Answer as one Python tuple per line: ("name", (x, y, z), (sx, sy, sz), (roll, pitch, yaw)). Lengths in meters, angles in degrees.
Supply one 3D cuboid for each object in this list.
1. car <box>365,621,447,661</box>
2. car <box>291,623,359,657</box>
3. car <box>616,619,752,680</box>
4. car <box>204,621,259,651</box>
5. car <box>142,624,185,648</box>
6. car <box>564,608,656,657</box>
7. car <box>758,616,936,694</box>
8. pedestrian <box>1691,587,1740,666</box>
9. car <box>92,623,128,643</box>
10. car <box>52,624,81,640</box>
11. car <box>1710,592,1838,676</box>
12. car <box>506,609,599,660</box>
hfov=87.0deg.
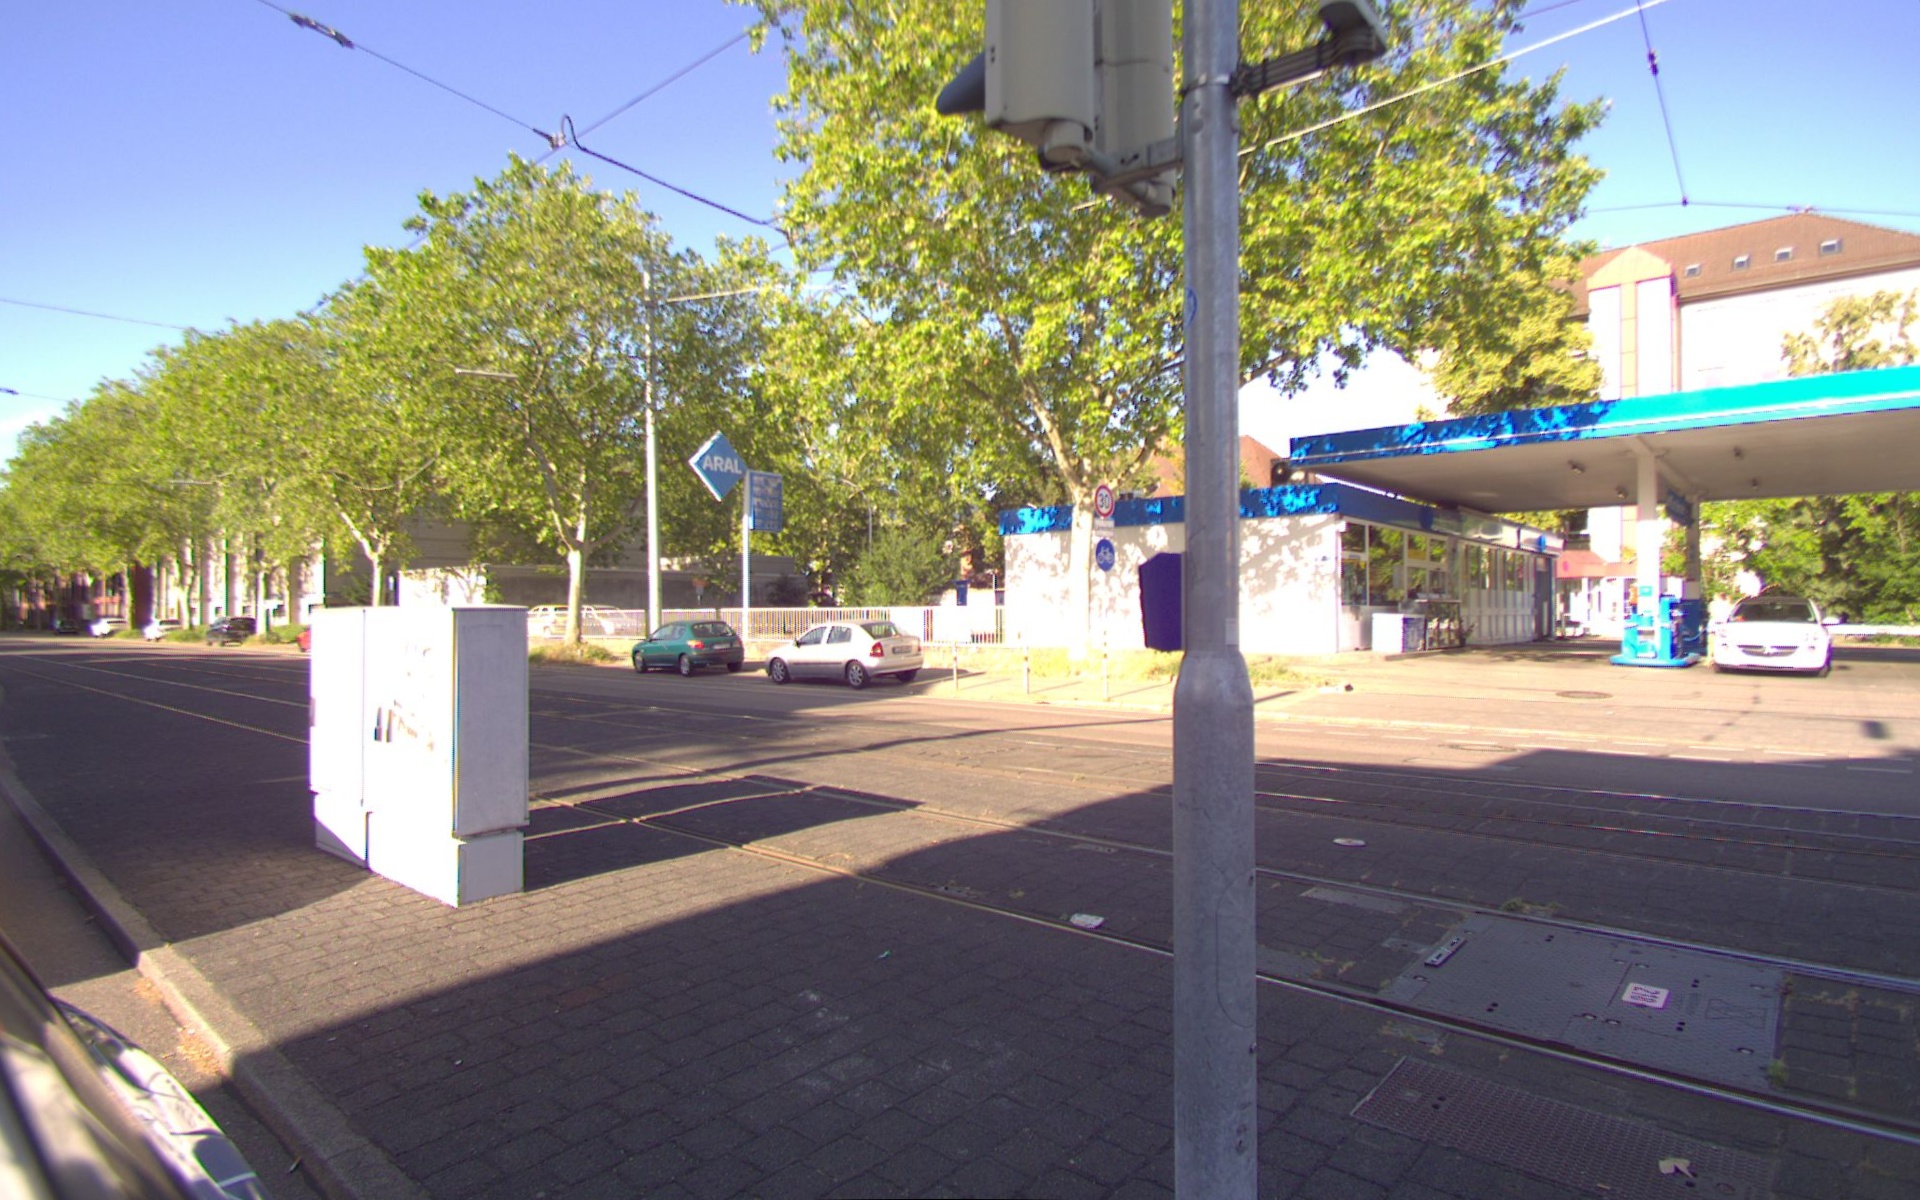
("car", (-21.986, 1.594, 40.095), (3.858, 1.468, 1.735), (-1, 0, 43))
("car", (-28.913, 1.780, 46.049), (3.858, 1.440, 1.695), (-1, 0, 43))
("car", (-7.434, 1.279, 27.079), (3.858, 1.408, 1.722), (-1, 1, 43))
("car", (-40.676, 1.962, 56.490), (3.858, 1.557, 1.735), (-1, 0, 43))
("car", (-53.638, 2.407, 68.126), (3.858, 1.495, 1.735), (-1, 0, 43))
("car", (-15.146, 1.369, 43.694), (3.996, 2.029, 1.974), (-1, -1, 39))
("car", (-2.575, 1.172, 22.599), (3.857, 1.497, 1.823), (-1, 1, 42))
("pedestrian", (16.140, 0.558, 21.623), (0.812, 1.642, 0.639), (-1, -2, 38))
("car", (-66.926, 2.588, 79.646), (3.858, 1.495, 1.735), (-1, 0, 43))
("car", (-84.872, 3.022, 96.121), (3.858, 1.495, 1.735), (-1, 0, 43))
("car", (15.939, 0.617, 19.785), (1.793, 1.453, 3.946), (-1, -1, 40))
("car", (-17.045, 1.399, 42.266), (3.996, 2.029, 1.974), (-1, -1, 39))
